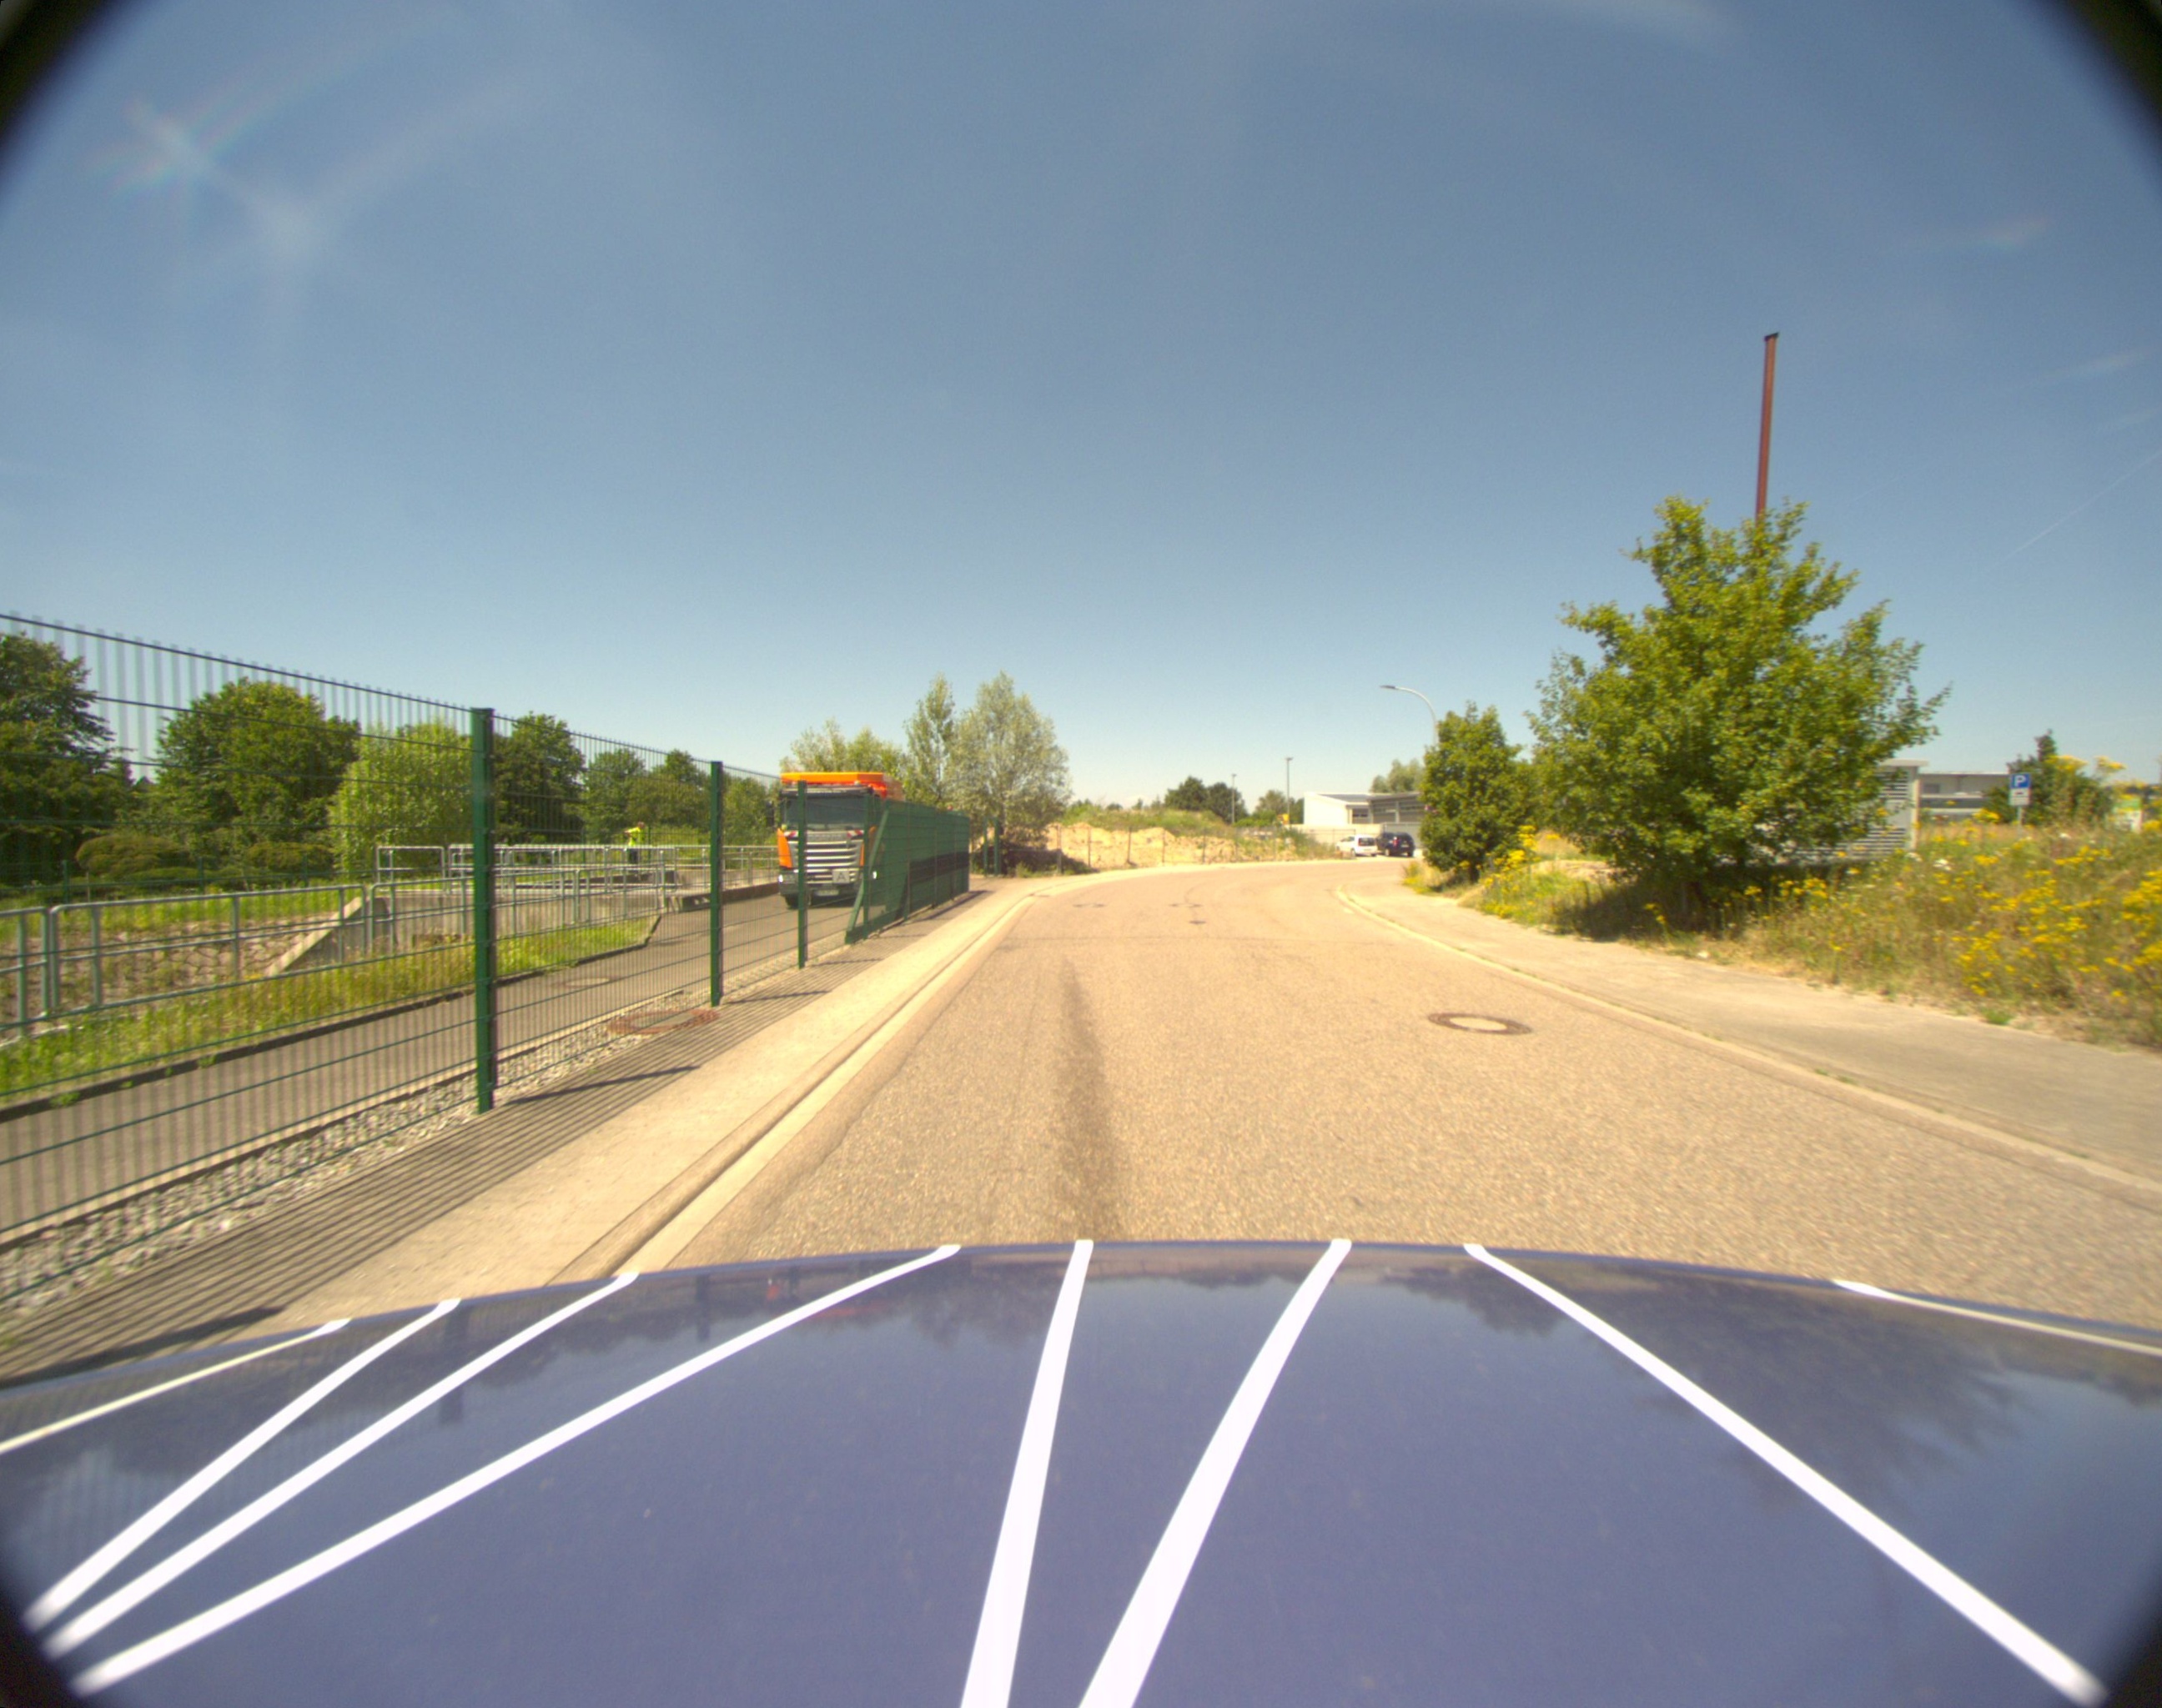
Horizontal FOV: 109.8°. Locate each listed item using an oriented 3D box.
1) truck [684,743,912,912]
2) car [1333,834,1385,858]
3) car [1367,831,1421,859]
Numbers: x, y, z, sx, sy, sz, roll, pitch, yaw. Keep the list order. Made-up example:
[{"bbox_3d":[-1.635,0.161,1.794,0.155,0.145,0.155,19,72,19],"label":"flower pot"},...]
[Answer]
[{"bbox_3d":[-7.308,-0.729,21.495,4.164,3.785,8.602,0,2,-7],"label":"truck"},{"bbox_3d":[19.334,-0.573,53.058,1.892,1.454,4.018,0,4,-4],"label":"car"},{"bbox_3d":[21.806,-0.662,53.118,1.857,1.647,4.017,0,6,-4],"label":"car"}]
